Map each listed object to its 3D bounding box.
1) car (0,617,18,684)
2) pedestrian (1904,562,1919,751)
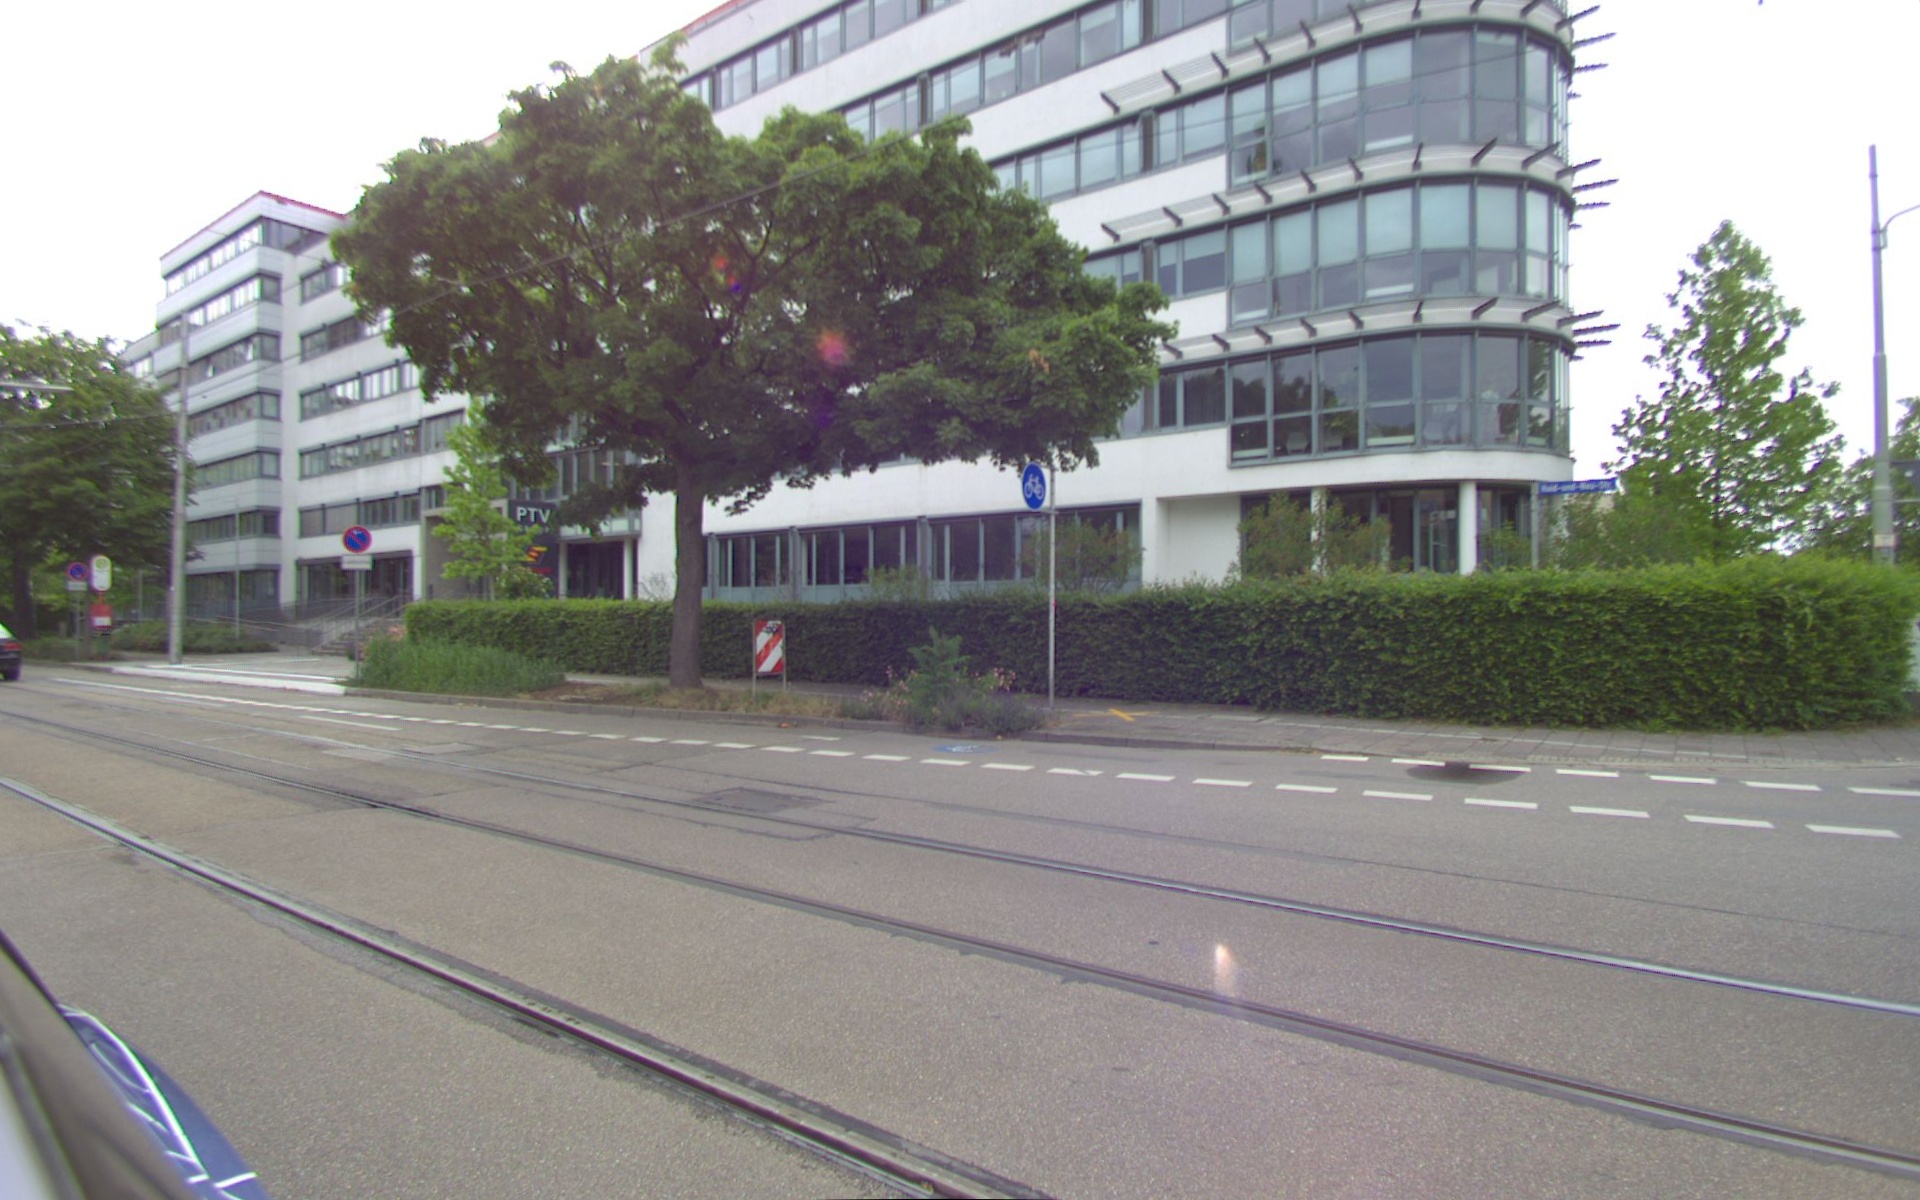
[{"bbox_3d":[-24.711,1.216,24.580,4.469,1.558,1.781,-1,0,35],"label":"car"},{"bbox_3d":[9.942,0.545,9.843,1.059,1.839,0.795,-1,0,41],"label":"pedestrian"}]
